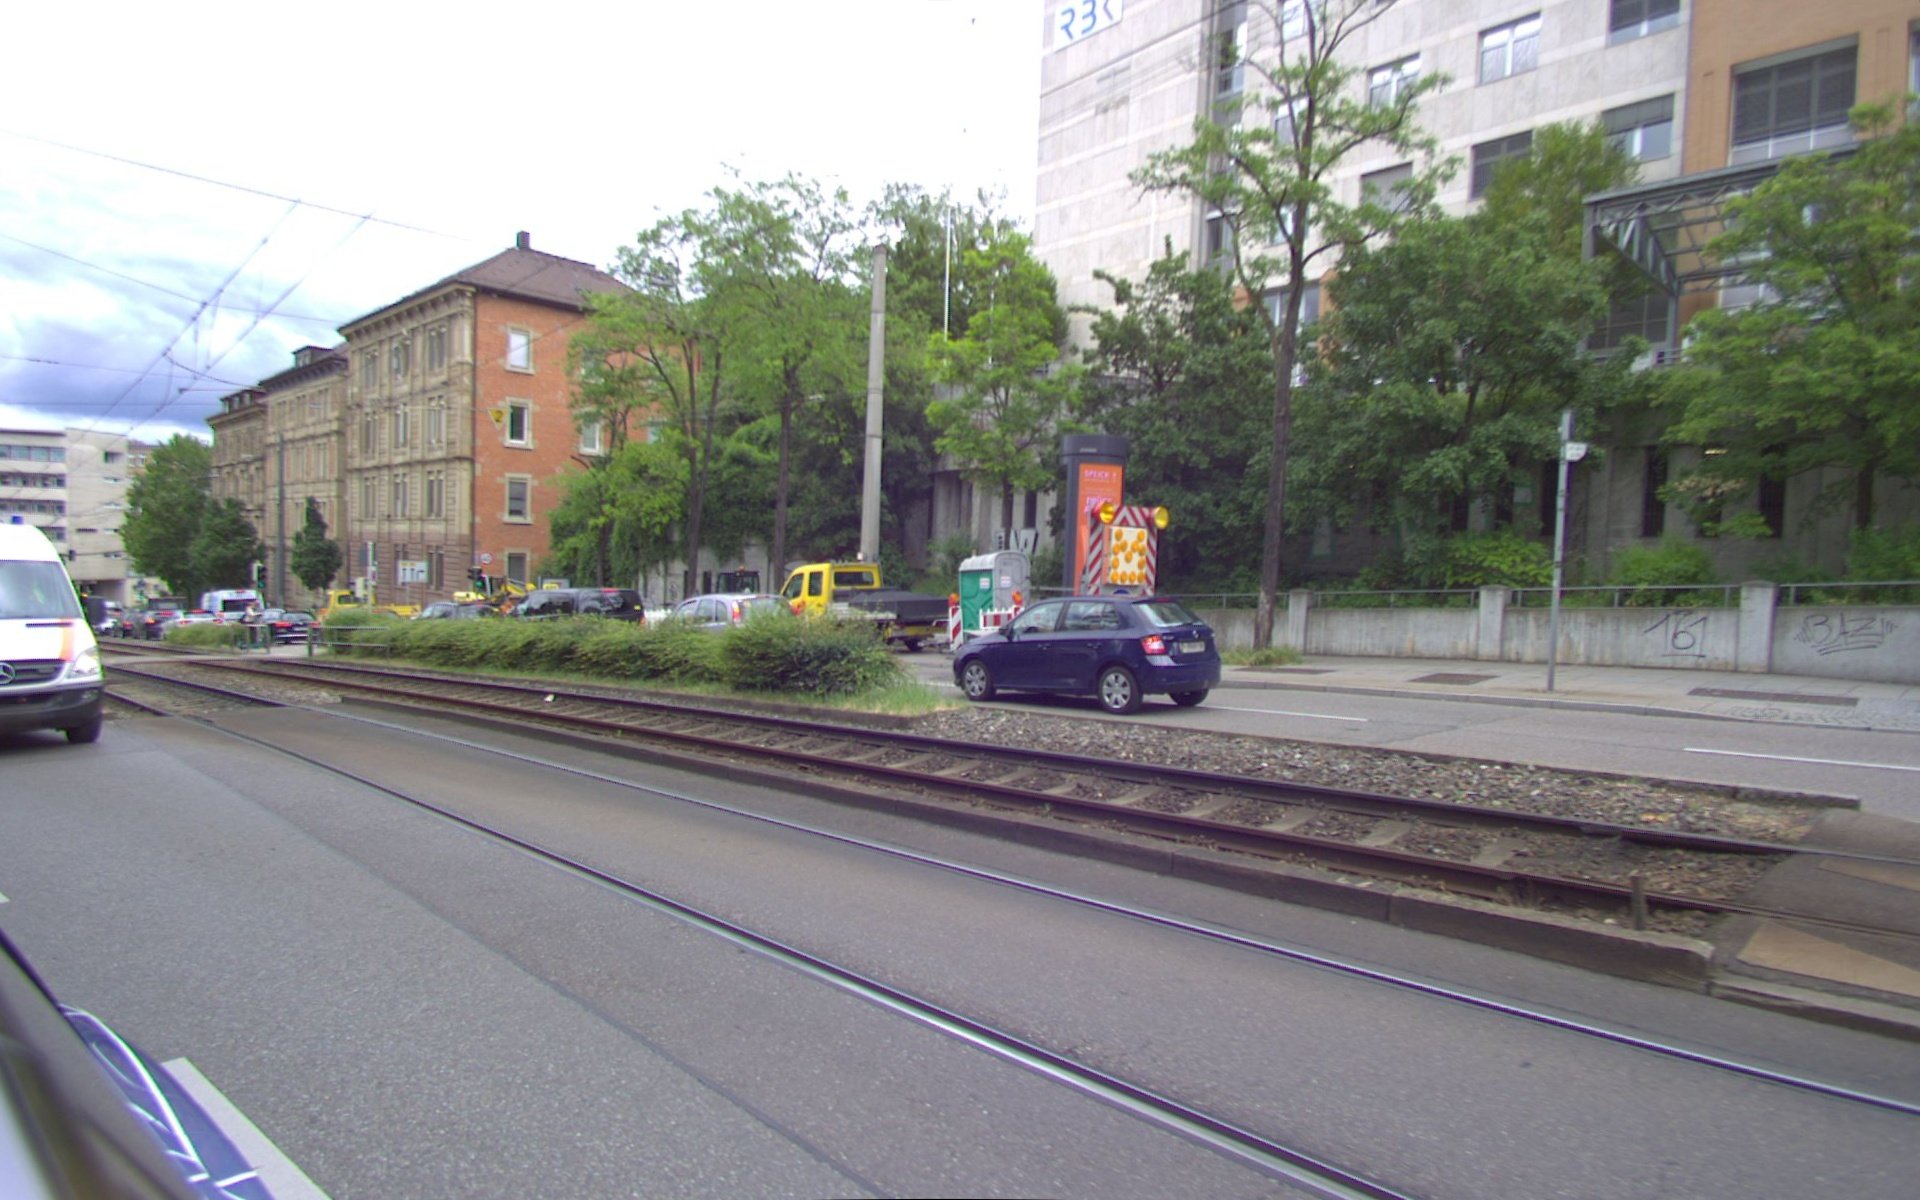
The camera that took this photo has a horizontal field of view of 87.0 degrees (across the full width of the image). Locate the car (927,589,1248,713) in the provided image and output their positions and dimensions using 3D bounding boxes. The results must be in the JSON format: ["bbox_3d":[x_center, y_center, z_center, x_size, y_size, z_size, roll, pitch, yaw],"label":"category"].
[{"bbox_3d":[1.579,0.616,13.589,1.746,1.418,4.085,0,-1,-44],"label":"car"}]

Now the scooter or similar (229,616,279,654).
[{"bbox_3d":[-24.976,1.229,35.816,0.528,1.306,1.492,-1,-1,12],"label":"scooter or similar"}]

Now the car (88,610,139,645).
[{"bbox_3d":[-50.354,1.616,60.181,4.002,2.060,1.971,-1,-1,44],"label":"car"}]

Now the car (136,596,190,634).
[{"bbox_3d":[-50.820,0.963,64.496,4.002,2.305,2.211,-1,-1,44],"label":"car"}]

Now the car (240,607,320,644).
[{"bbox_3d":[-28.244,1.055,41.987,3.997,1.473,1.760,-1,-1,41],"label":"car"}]

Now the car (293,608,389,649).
[{"bbox_3d":[-23.480,1.057,38.314,4.845,1.446,1.861,-1,-3,44],"label":"car"}]

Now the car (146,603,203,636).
[{"bbox_3d":[-48.127,1.176,61.993,3.438,1.954,2.289,-1,-1,44],"label":"car"}]

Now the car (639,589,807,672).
[{"bbox_3d":[-4.676,0.562,19.672,1.638,1.454,3.745,0,-1,-41],"label":"car"}]

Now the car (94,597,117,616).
[{"bbox_3d":[-84.606,0.678,100.250,1.675,1.824,4.007,-1,-1,-39],"label":"car"}]

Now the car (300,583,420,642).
[{"bbox_3d":[-26.979,0.564,45.415,6.746,2.454,2.417,-1,0,39],"label":"car"}]

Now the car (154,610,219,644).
[{"bbox_3d":[-37.309,1.276,48.812,3.997,1.579,1.686,-1,-1,40],"label":"car"}]

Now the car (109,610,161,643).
[{"bbox_3d":[-45.794,1.445,56.146,4.002,1.763,1.815,-1,-1,45],"label":"car"}]

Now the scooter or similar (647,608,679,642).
[{"bbox_3d":[-11.510,0.984,39.238,1.288,1.299,0.424,-2,-2,32],"label":"scooter or similar"}]

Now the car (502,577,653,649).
[{"bbox_3d":[-9.567,0.341,25.097,1.969,1.617,4.615,0,-1,-42],"label":"car"}]

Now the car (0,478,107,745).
[{"bbox_3d":[-12.173,0.169,11.933,5.844,2.720,2.015,-1,-1,37],"label":"car"}]

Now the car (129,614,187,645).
[{"bbox_3d":[-41.699,1.518,52.576,3.951,1.531,1.846,-1,-1,44],"label":"car"}]

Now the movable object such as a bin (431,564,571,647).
[{"bbox_3d":[-21.027,0.309,46.280,6.527,3.575,2.726,-1,-1,32],"label":"movable object such as a bin"}]

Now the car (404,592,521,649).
[{"bbox_3d":[-15.381,0.625,31.166,1.970,1.617,4.623,0,-1,-44],"label":"car"}]

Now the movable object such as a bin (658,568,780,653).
[{"bbox_3d":[-7.736,0.334,32.276,1.911,2.486,4.101,-2,0,-44],"label":"movable object such as a bin"}]

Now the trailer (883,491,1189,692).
[{"bbox_3d":[1.116,-0.130,17.845,1.994,2.995,5.599,-2,1,-40],"label":"trailer"}]

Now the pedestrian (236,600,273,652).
[{"bbox_3d":[-25.193,0.933,36.124,0.787,1.831,0.736,-1,-2,20],"label":"pedestrian"}]

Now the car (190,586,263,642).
[{"bbox_3d":[-39.027,0.730,53.820,4.782,2.844,2.185,-1,-1,42],"label":"car"}]

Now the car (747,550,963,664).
[{"bbox_3d":[-2.888,0.219,26.230,2.131,2.613,6.341,0,-1,-44],"label":"car"}]
